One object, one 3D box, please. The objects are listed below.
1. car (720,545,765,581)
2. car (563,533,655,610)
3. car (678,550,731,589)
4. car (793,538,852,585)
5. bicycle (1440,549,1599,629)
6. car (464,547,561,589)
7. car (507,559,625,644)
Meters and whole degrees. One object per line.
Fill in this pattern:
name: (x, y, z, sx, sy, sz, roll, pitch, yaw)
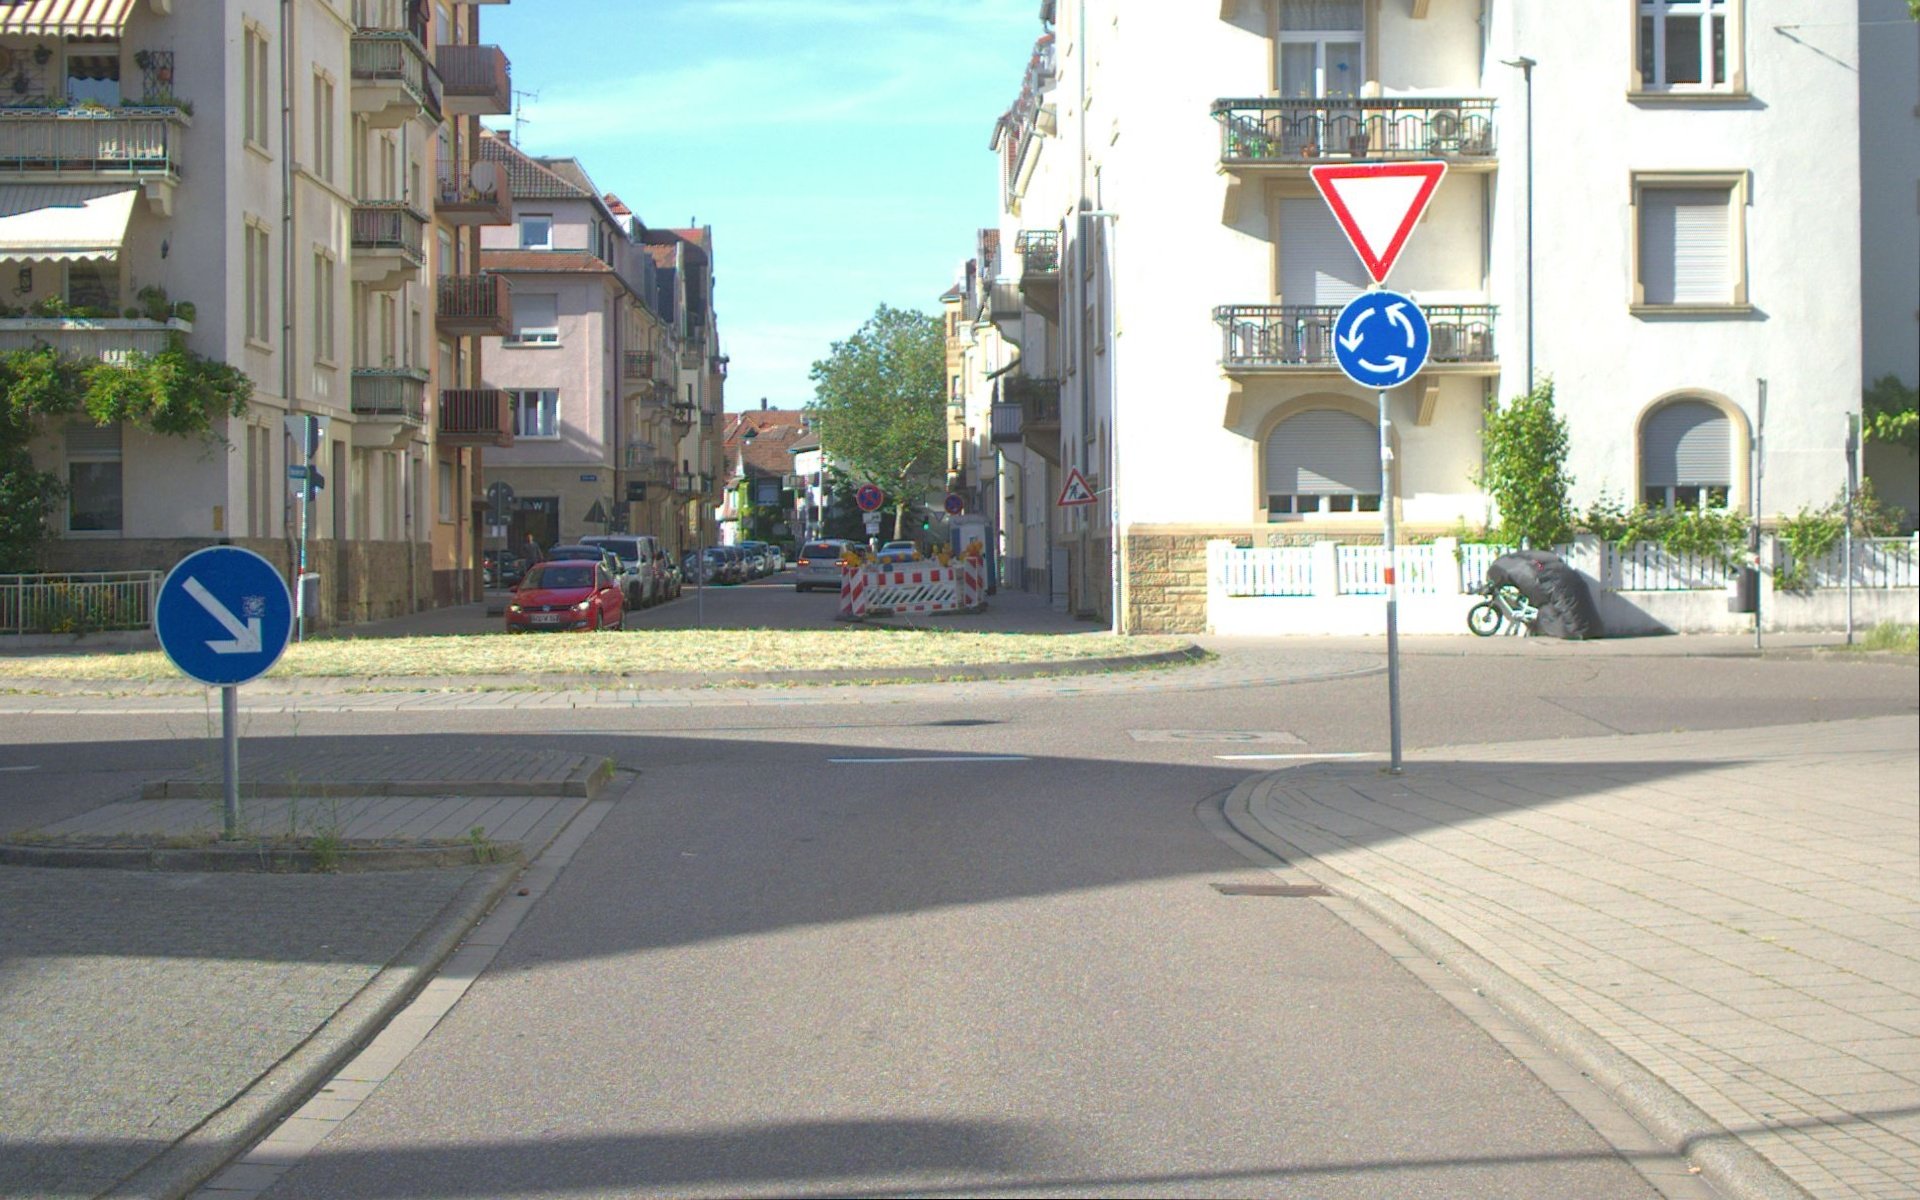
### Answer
car: (-10.454, -1.753, 165.722, 2.003, 1.613, 4.487, 2, 0, -2)
car: (-9.116, -0.761, 89.712, 1.975, 1.918, 5.310, 1, 1, -2)
car: (-9.966, -1.196, 134.316, 1.679, 1.421, 4.274, 2, 0, 0)
car: (-4.570, -1.281, 114.557, 1.838, 1.427, 4.029, -1, -1, -1)
bicycle: (8.372, -0.175, 51.522, 2.284, 1.153, 0.765, 1, 1, 41)
car: (-16.347, -1.185, 125.405, 1.700, 1.434, 3.529, -1, 2, -45)
car: (-7.113, 0.002, 62.388, 1.711, 1.377, 4.001, -2, 2, -1)
